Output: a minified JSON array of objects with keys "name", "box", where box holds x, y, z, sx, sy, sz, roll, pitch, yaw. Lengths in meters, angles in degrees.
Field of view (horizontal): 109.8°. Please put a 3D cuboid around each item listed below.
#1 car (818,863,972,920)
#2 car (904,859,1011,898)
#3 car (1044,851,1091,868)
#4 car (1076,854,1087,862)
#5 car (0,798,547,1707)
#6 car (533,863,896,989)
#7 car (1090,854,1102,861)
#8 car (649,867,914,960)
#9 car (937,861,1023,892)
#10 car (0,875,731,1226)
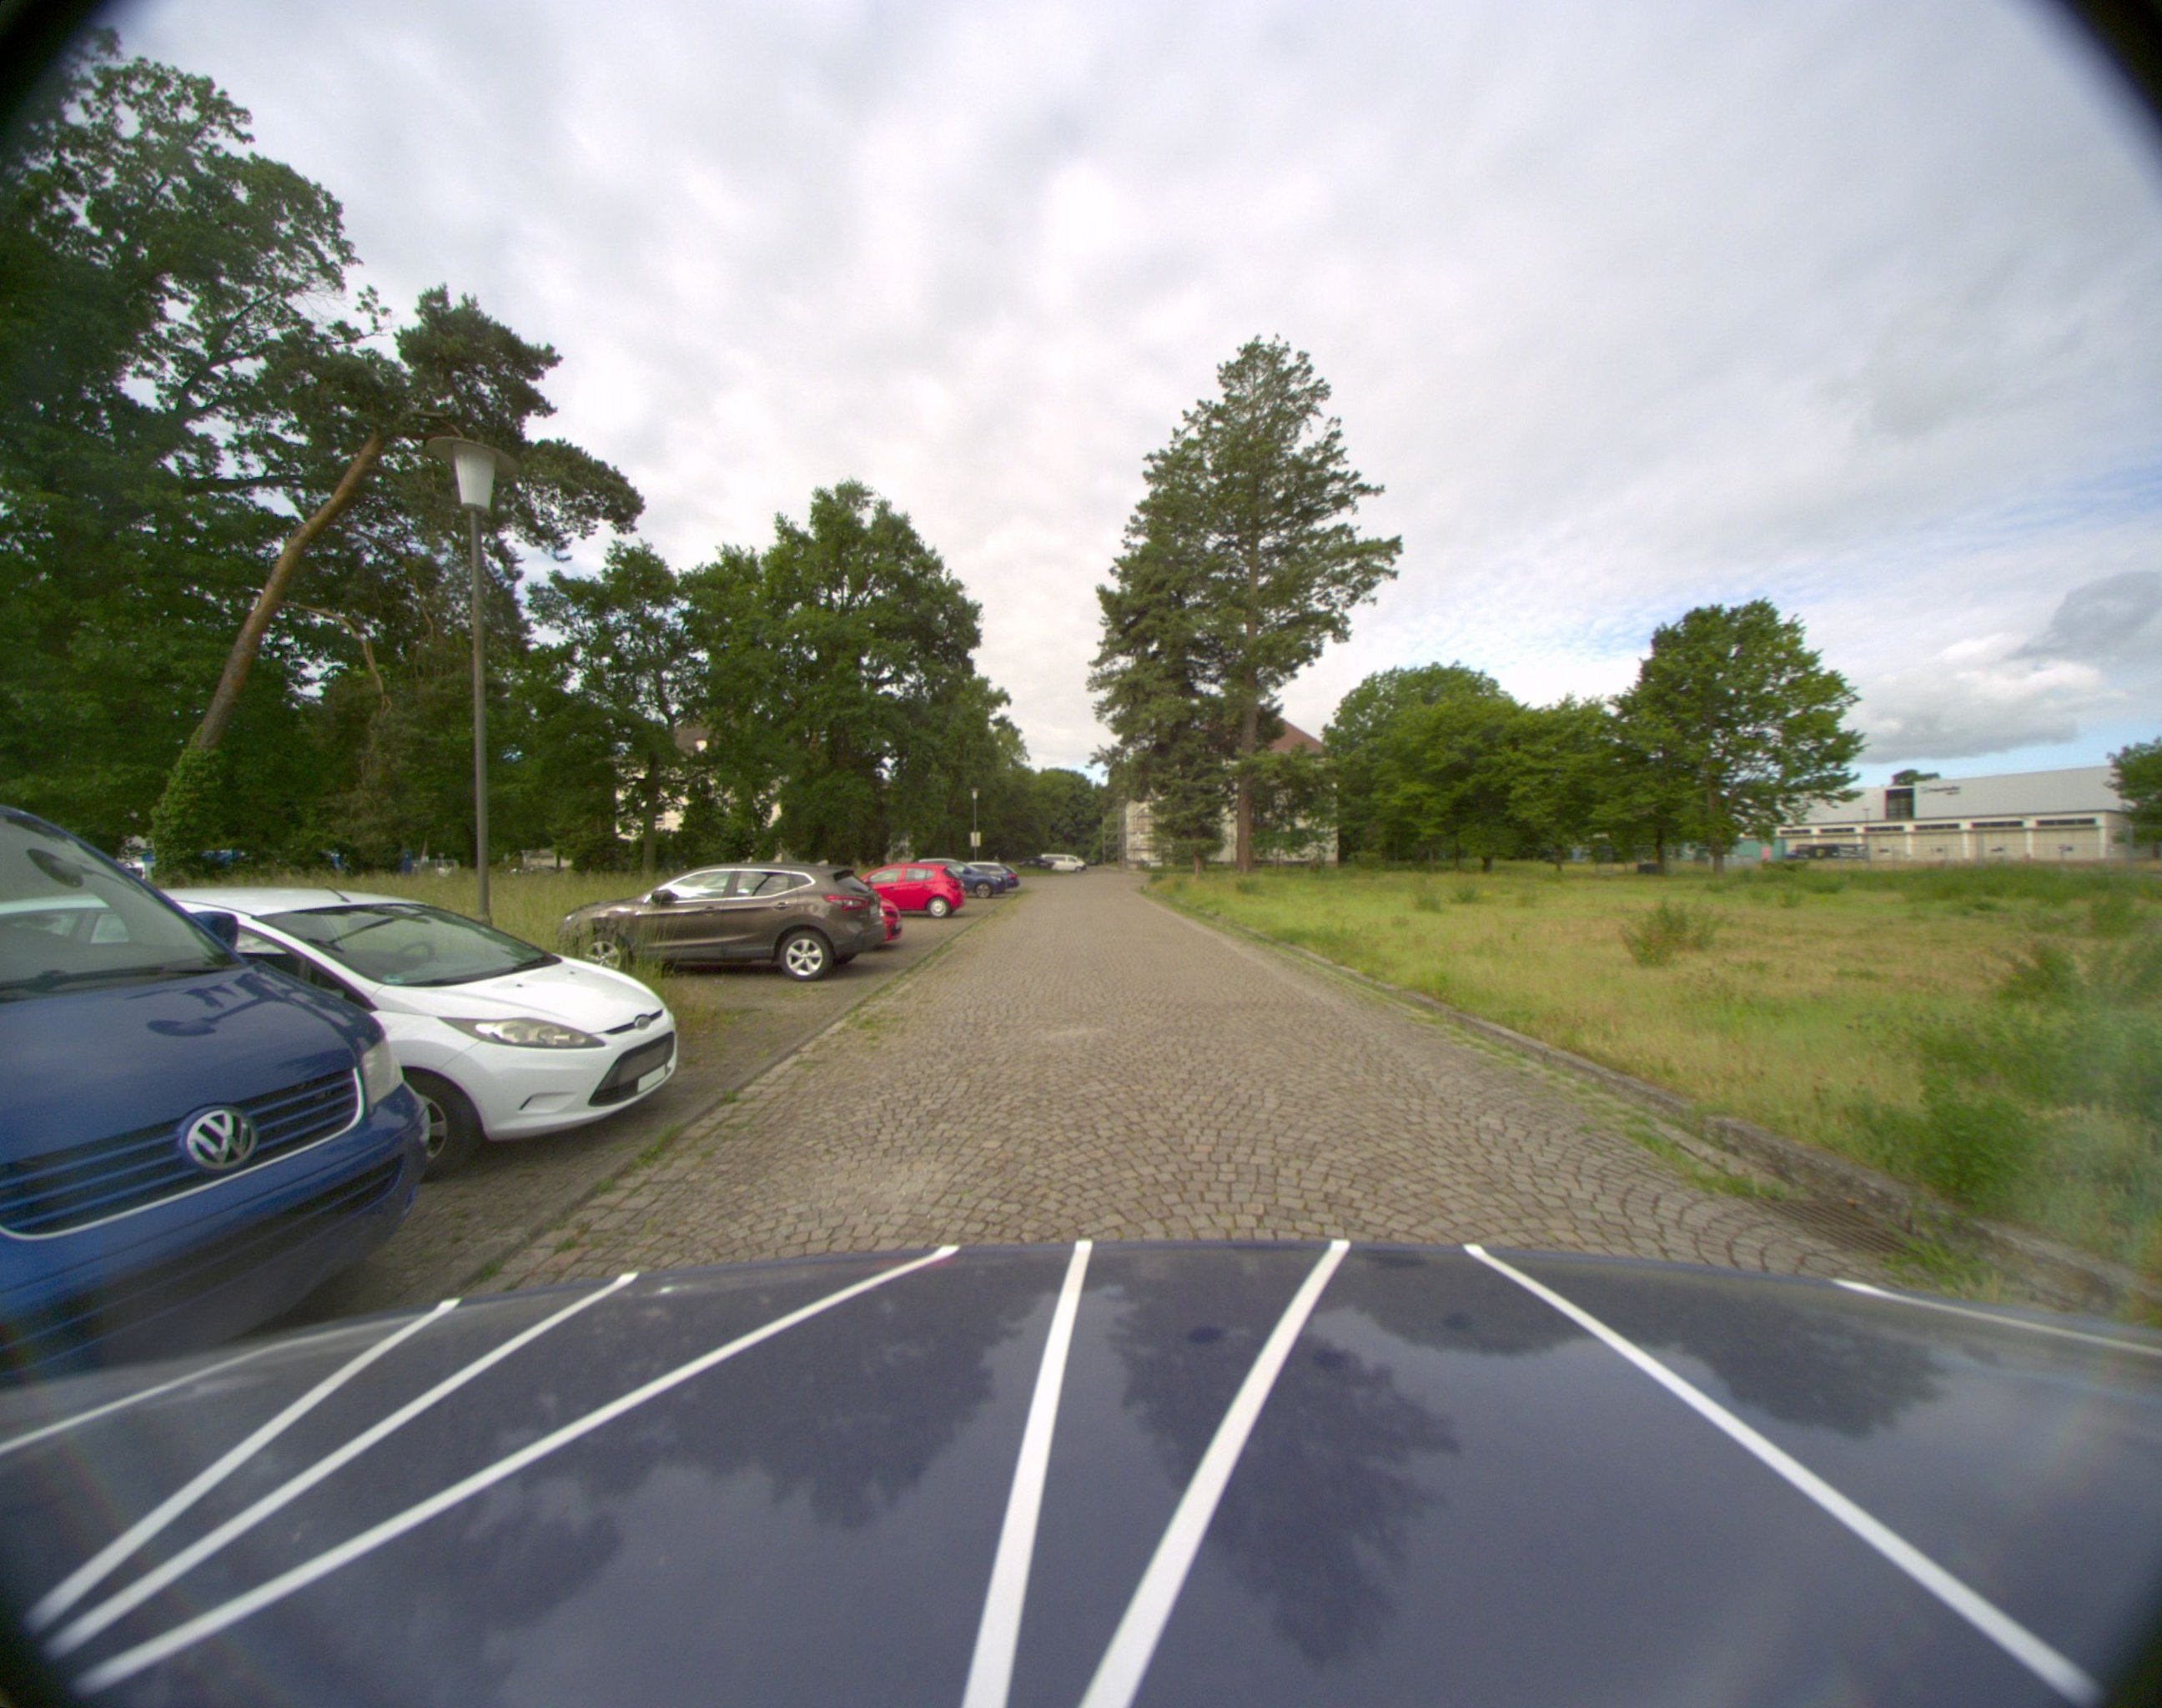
[{"name":"car","box":[-5.083,1.012,21.107,3.895,1.451,1.582,1,0,-2]},{"name":"car","box":[-5.032,0.982,31.350,4.150,1.529,1.582,1,0,-2]},{"name":"car","box":[-1.527,0.582,84.853,5.141,1.860,1.723,1,0,-2]},{"name":"car","box":[0.067,0.804,151.288,1.870,1.408,4.694,1,0,-5]},{"name":"car","box":[-4.559,0.812,2.000,4.820,1.934,2.003,1,0,-2]},{"name":"car","box":[-4.987,0.961,10.831,4.271,1.589,1.821,1,0,-2]},{"name":"car","box":[2.947,0.729,151.867,1.870,1.408,4.694,1,0,-5]},{"name":"car","box":[-5.184,1.002,13.556,4.016,1.477,1.765,1,0,0]},{"name":"car","box":[-4.728,1.054,36.014,3.878,1.417,1.582,1,0,-2]},{"name":"car","box":[-4.502,0.985,4.566,3.873,1.463,1.841,3,0,-2]}]
